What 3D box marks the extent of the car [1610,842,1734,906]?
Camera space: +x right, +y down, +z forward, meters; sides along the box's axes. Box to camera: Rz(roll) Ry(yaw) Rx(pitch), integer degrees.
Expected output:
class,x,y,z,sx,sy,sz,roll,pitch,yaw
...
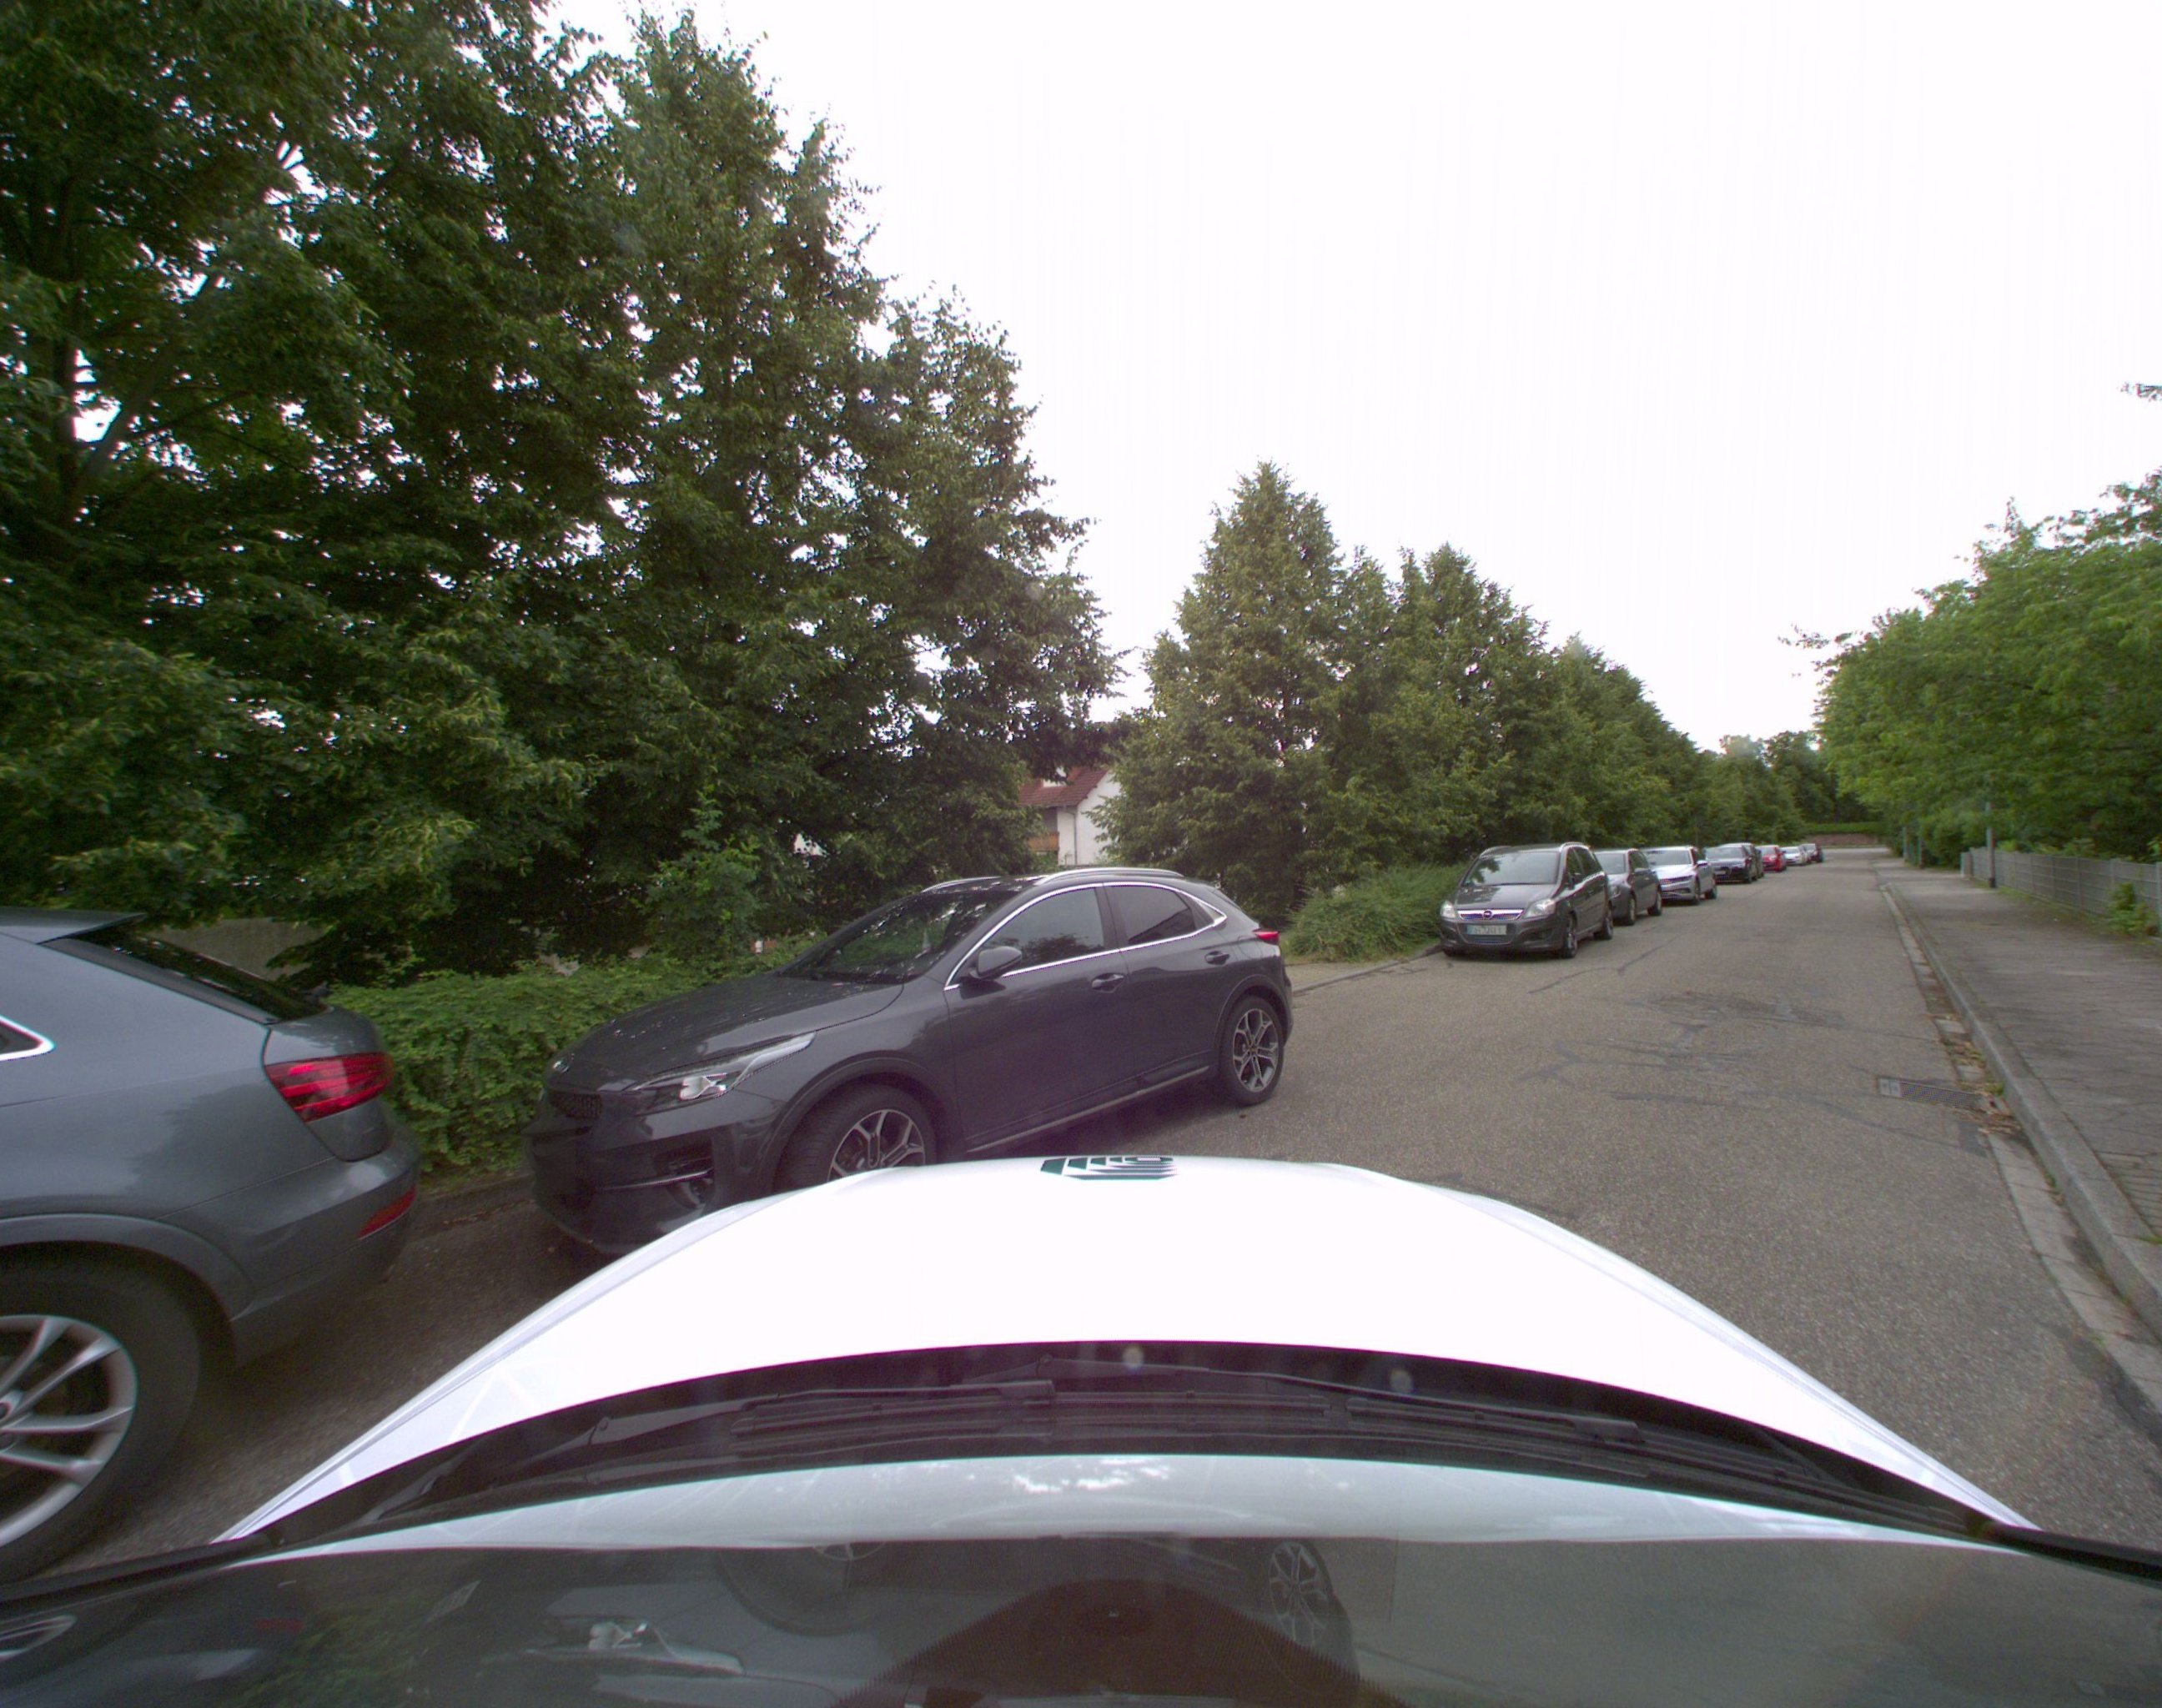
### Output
class,x,y,z,sx,sy,sz,roll,pitch,yaw
car,15.263,0.481,20.938,4.504,1.428,1.760,-1,-2,-44

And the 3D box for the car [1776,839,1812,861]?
class,x,y,z,sx,sy,sz,roll,pitch,yaw
car,53.029,-0.323,60.549,1.735,1.519,4.024,-2,0,45

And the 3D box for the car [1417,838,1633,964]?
class,x,y,z,sx,sy,sz,roll,pitch,yaw
car,7.012,0.618,12.603,1.740,1.593,4.580,-5,-3,43

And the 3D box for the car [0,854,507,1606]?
class,x,y,z,sx,sy,sz,roll,pitch,yaw
car,-3.723,0.841,1.291,1.725,1.531,4.278,-4,-2,40

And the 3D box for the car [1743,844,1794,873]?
class,x,y,z,sx,sy,sz,roll,pitch,yaw
car,37.354,0.223,44.248,1.735,1.425,4.024,-5,-2,44

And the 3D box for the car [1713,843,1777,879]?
class,x,y,z,sx,sy,sz,roll,pitch,yaw
car,29.251,0.280,35.849,1.735,1.425,4.024,-5,-2,44

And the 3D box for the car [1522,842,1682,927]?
class,x,y,z,sx,sy,sz,roll,pitch,yaw
car,10.811,0.577,16.766,4.330,1.478,1.741,-2,-3,-44

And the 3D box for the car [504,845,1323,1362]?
class,x,y,z,sx,sy,sz,roll,pitch,yaw
car,-0.520,0.789,4.596,4.220,1.531,1.725,-1,-2,-45

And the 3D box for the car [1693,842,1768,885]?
class,x,y,z,sx,sy,sz,roll,pitch,yaw
car,24.497,0.326,30.670,1.735,1.425,4.024,-5,-2,44
